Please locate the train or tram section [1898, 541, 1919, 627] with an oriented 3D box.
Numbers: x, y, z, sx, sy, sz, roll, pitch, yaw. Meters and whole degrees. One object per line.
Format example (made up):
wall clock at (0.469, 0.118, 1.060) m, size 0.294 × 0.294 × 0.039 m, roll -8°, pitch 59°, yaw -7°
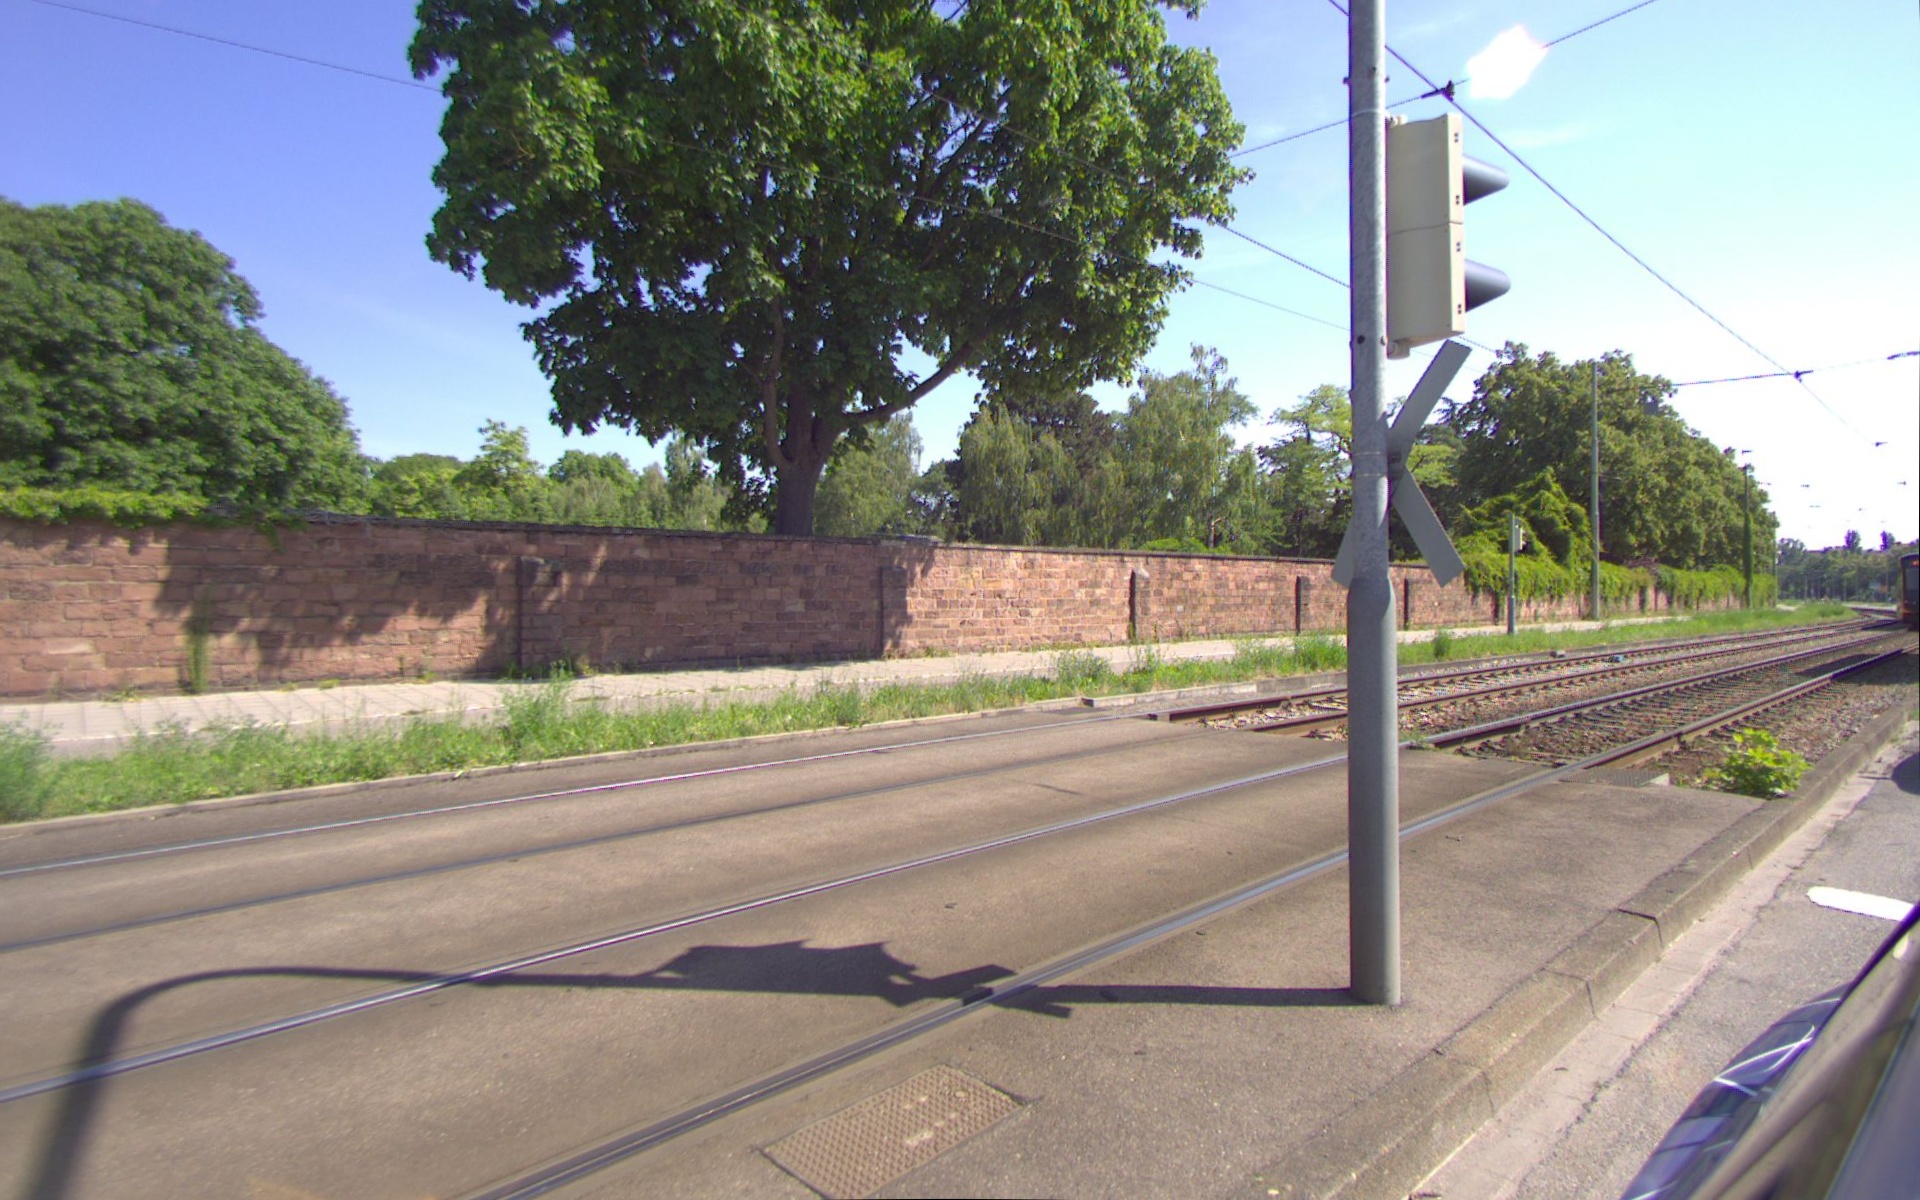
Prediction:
train or tram section at (47.479, -0.821, 48.314) m, size 15.046 × 3.699 × 2.673 m, roll -1°, pitch -1°, yaw -43°
